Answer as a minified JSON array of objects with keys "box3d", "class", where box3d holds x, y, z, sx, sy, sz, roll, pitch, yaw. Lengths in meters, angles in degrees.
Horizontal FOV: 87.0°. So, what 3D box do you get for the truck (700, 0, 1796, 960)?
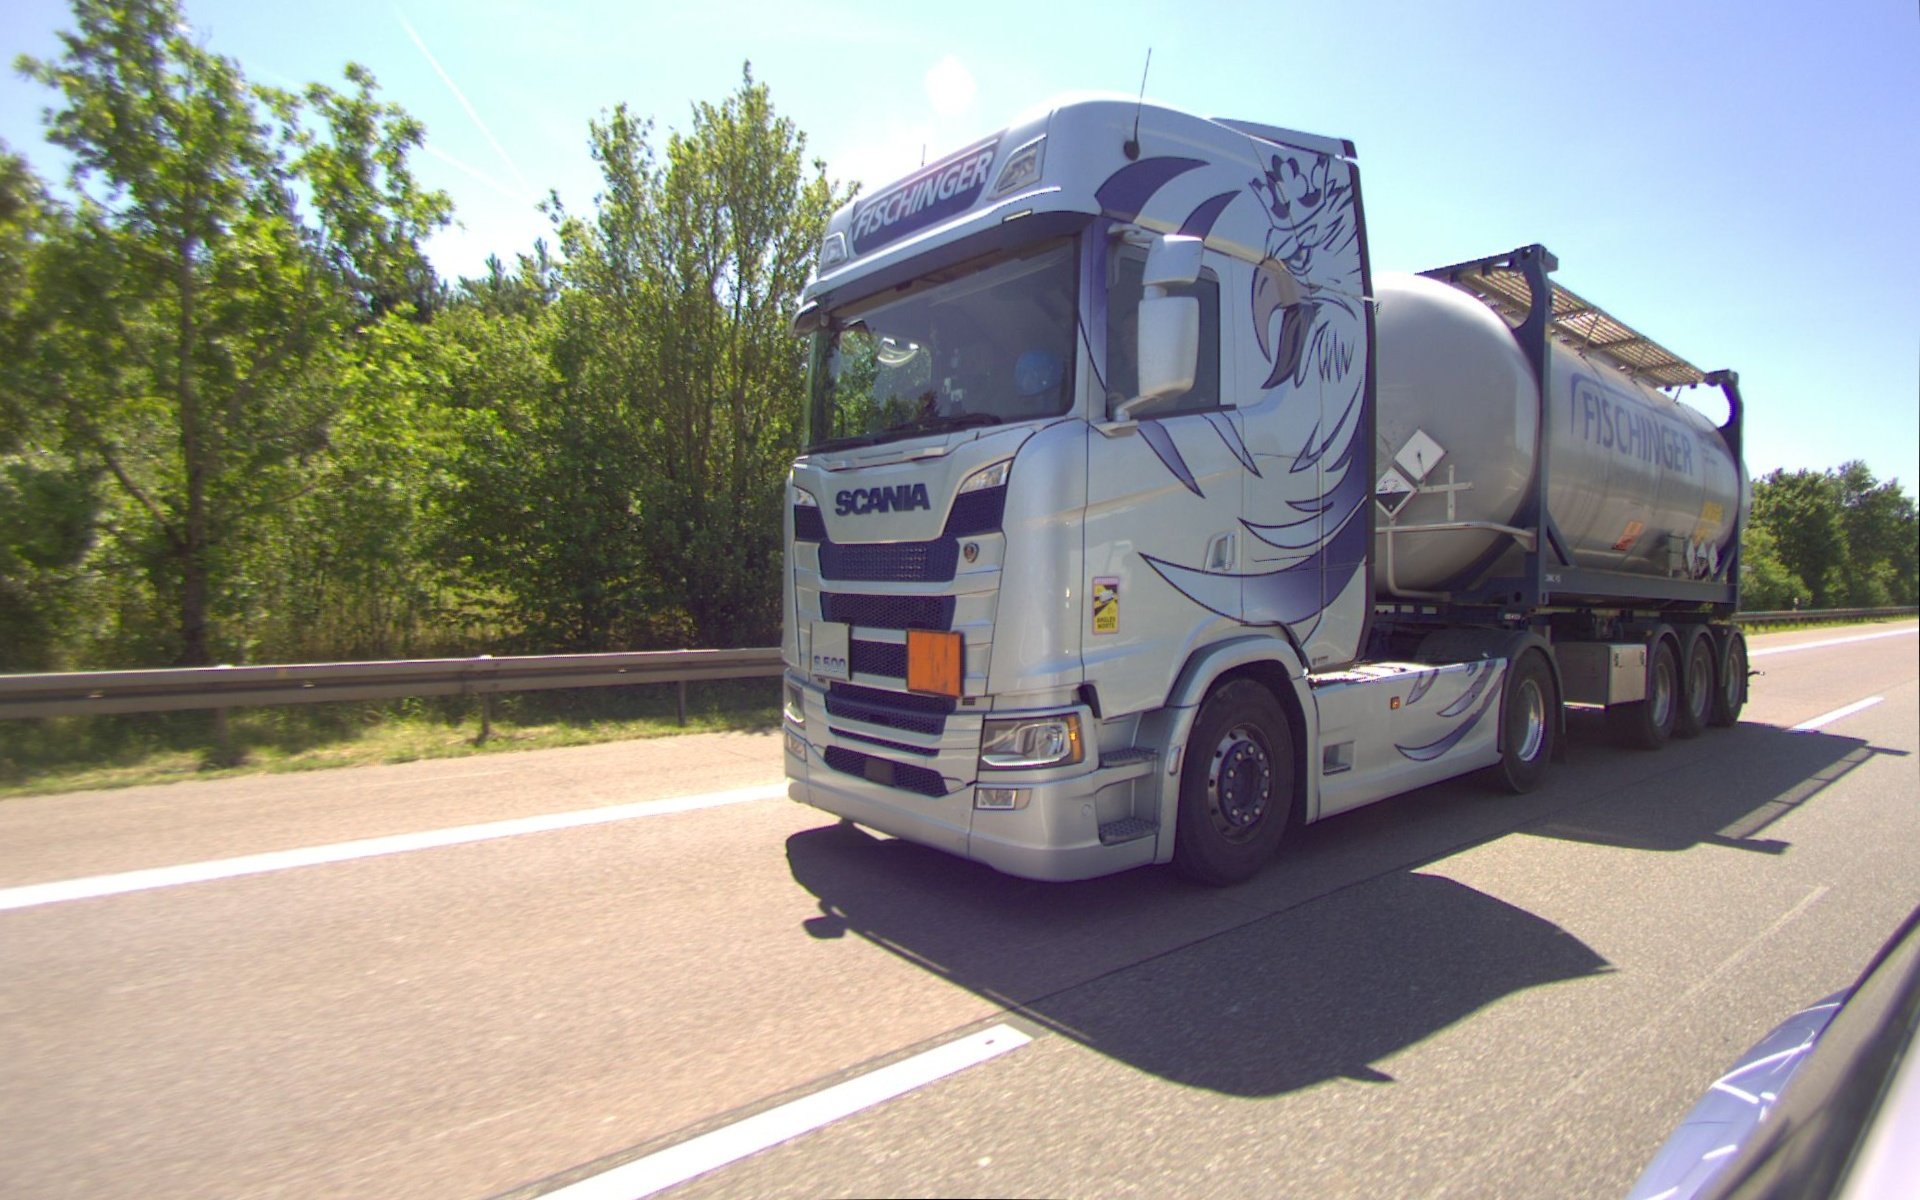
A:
[{"box3d":[4.342,-0.764,9.180,13.120,4.097,2.804,-1,0,-41],"class":"truck"}]
